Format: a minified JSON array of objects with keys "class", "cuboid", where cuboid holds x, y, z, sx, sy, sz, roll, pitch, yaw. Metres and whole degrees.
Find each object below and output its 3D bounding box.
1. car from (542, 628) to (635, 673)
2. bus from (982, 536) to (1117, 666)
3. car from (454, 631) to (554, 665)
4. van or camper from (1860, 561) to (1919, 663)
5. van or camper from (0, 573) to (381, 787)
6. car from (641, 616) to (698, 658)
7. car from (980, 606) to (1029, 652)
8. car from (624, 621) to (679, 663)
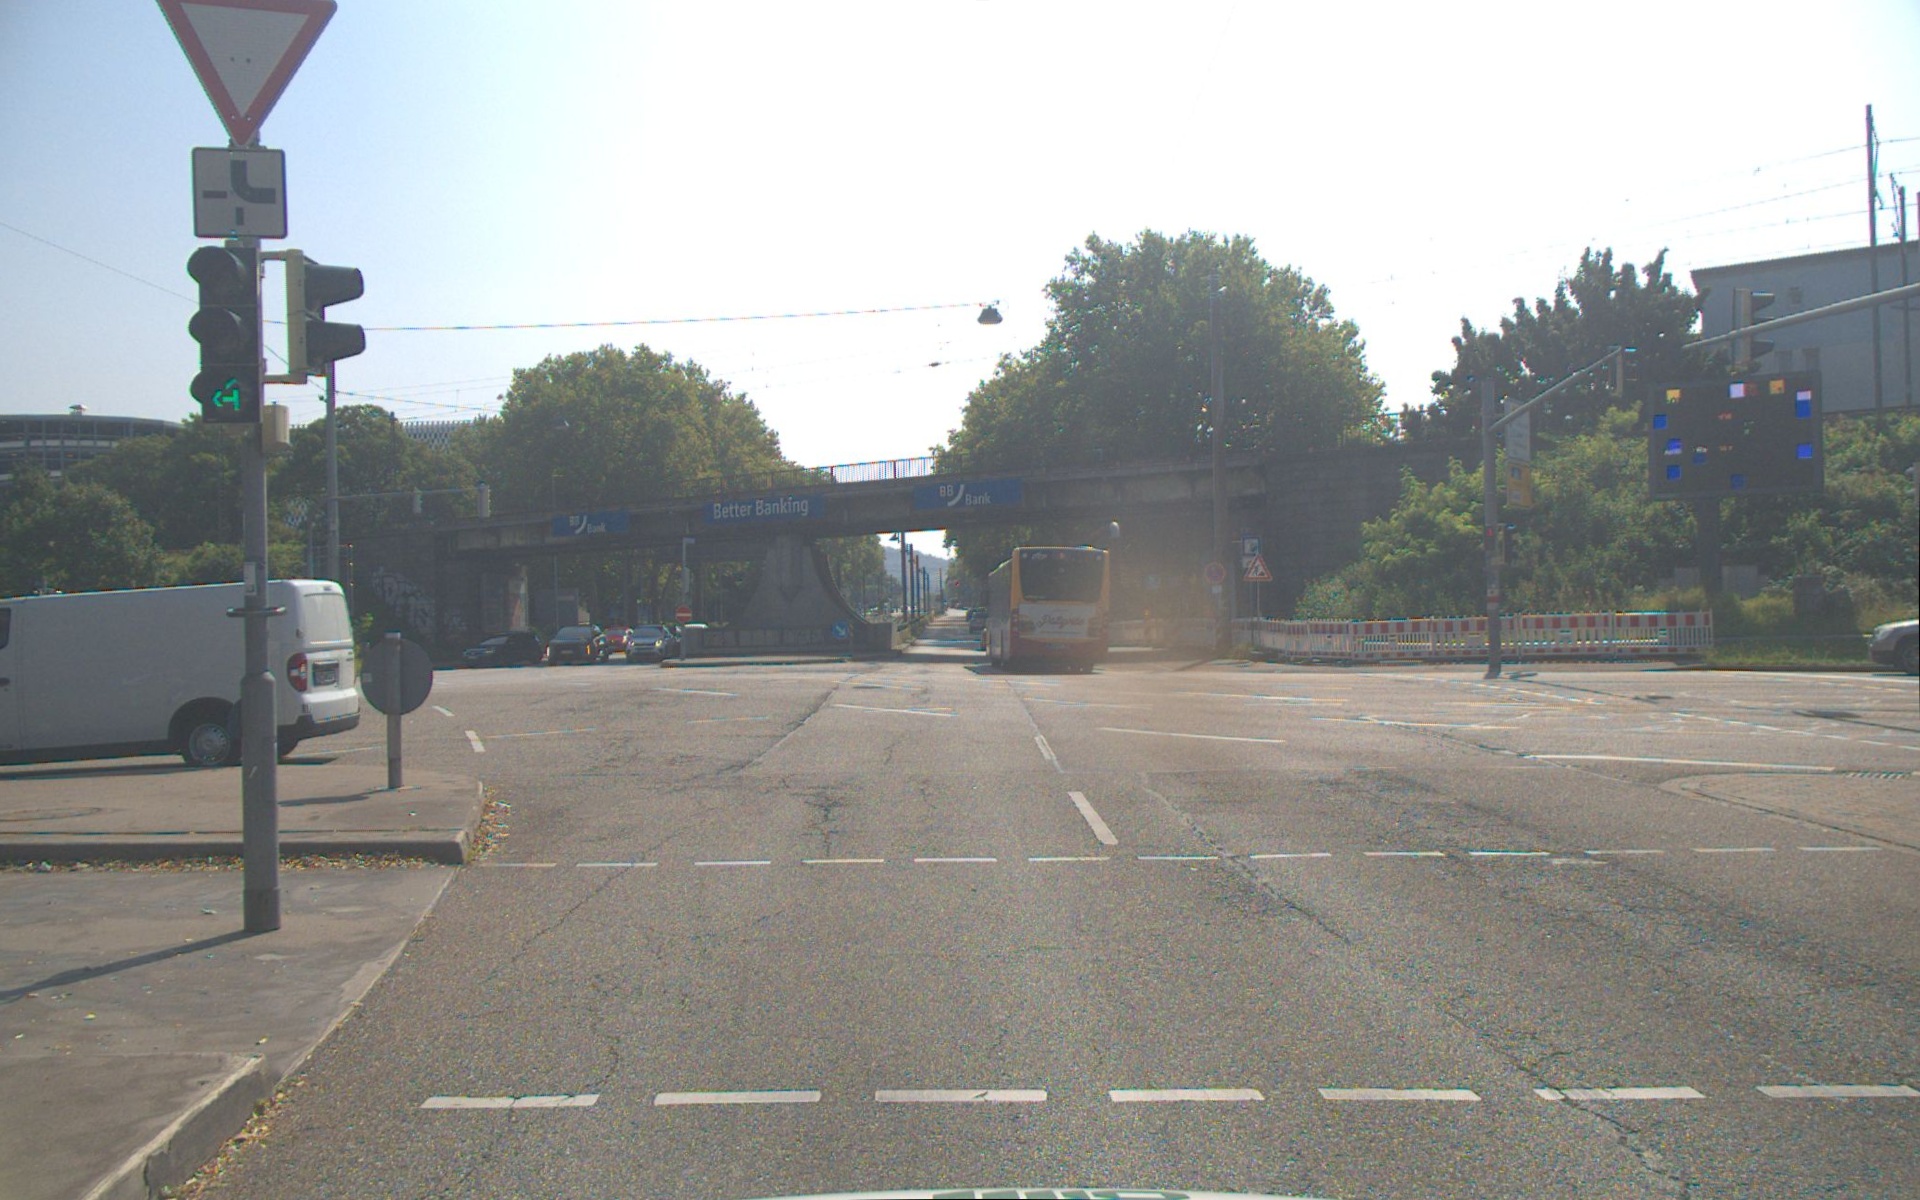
[{"class":"car","cuboid":[-15.290,2.051,68.294,1.861,1.645,4.478,-3,-1,15]},{"class":"bus","cuboid":[2.293,0.107,47.009,3.071,3.168,12.287,1,-1,0]},{"class":"car","cuboid":[-20.112,2.115,73.066,1.754,1.453,3.975,0,-1,42]},{"class":"van or camper","cuboid":[18.563,0.232,29.643,4.090,1.808,1.845,0,-1,36]},{"class":"van or camper","cuboid":[-8.909,0.826,17.488,4.832,1.981,1.846,-3,1,-2]},{"class":"car","cuboid":[-12.643,1.602,72.224,1.954,1.600,4.344,-1,1,-4]},{"class":"car","cuboid":[2.052,1.326,77.045,1.954,2.049,3.997,1,-1,-3]},{"class":"car","cuboid":[-12.529,1.693,67.364,1.687,1.565,3.693,-3,-1,-4]}]
